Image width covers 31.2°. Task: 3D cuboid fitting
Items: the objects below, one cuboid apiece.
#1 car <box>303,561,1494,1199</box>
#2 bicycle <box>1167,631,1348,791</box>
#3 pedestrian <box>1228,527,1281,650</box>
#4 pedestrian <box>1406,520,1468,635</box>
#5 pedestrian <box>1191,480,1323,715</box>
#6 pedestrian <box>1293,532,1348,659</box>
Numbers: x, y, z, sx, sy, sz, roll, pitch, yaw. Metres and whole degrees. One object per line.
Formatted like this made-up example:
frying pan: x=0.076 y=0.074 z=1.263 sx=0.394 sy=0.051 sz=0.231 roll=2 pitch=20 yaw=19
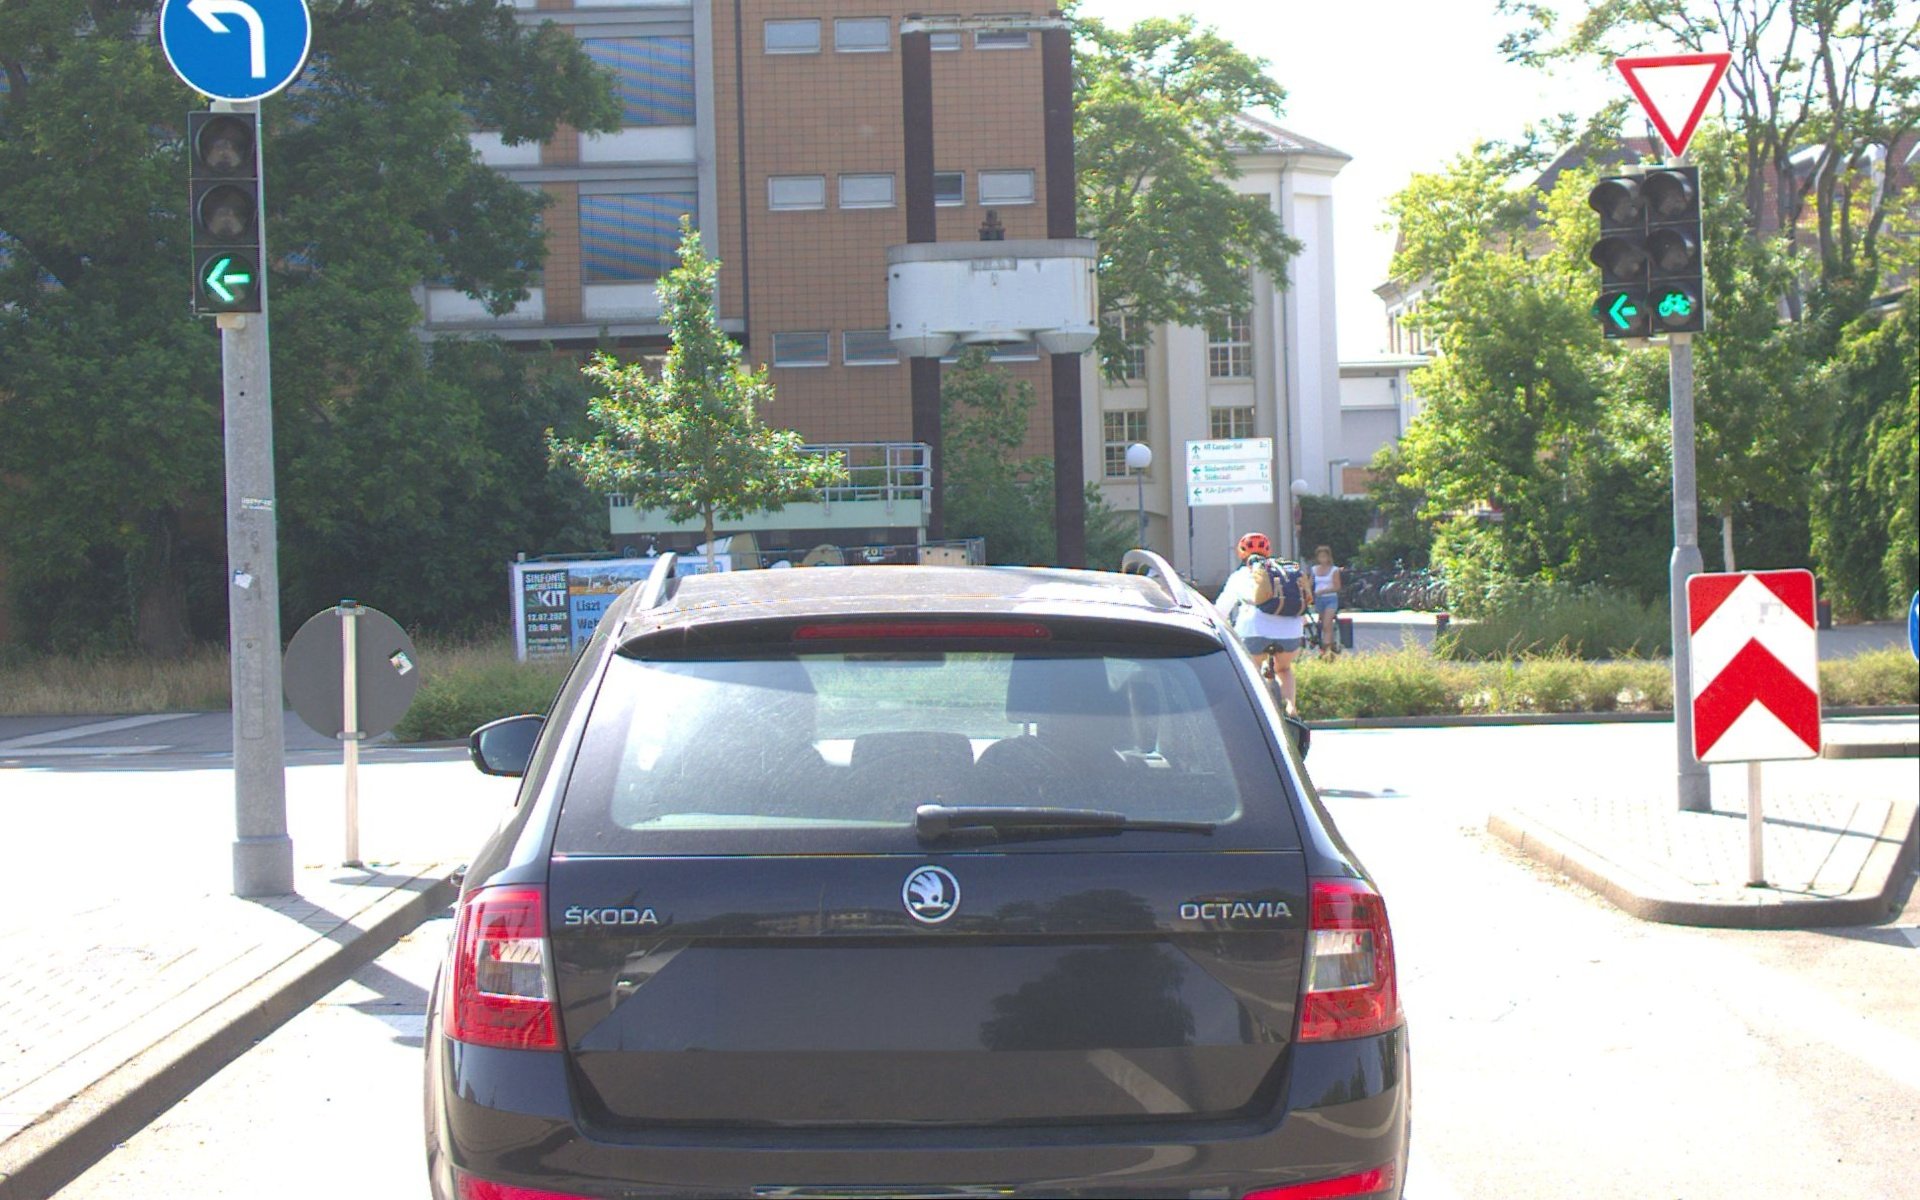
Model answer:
car: x=-0.098 y=0.643 z=7.056 sx=1.780 sy=1.438 sz=3.818 roll=0 pitch=1 yaw=0
bicycle: x=1.881 y=0.687 z=22.031 sx=0.596 sy=0.928 sz=2.029 roll=0 pitch=1 yaw=-12
pedestrian: x=4.531 y=-0.187 z=52.896 sx=0.597 sy=1.868 sz=0.638 roll=-2 pitch=0 yaw=23
pedestrian: x=7.926 y=-0.376 z=57.089 sx=0.795 sy=1.868 sz=0.638 roll=-3 pitch=1 yaw=23
pedestrian: x=1.886 y=-0.018 z=21.944 sx=0.583 sy=1.461 sz=1.014 roll=0 pitch=0 yaw=-11
pedestrian: x=5.443 y=-0.078 z=51.940 sx=0.637 sy=1.868 sz=0.796 roll=-3 pitch=1 yaw=-1
